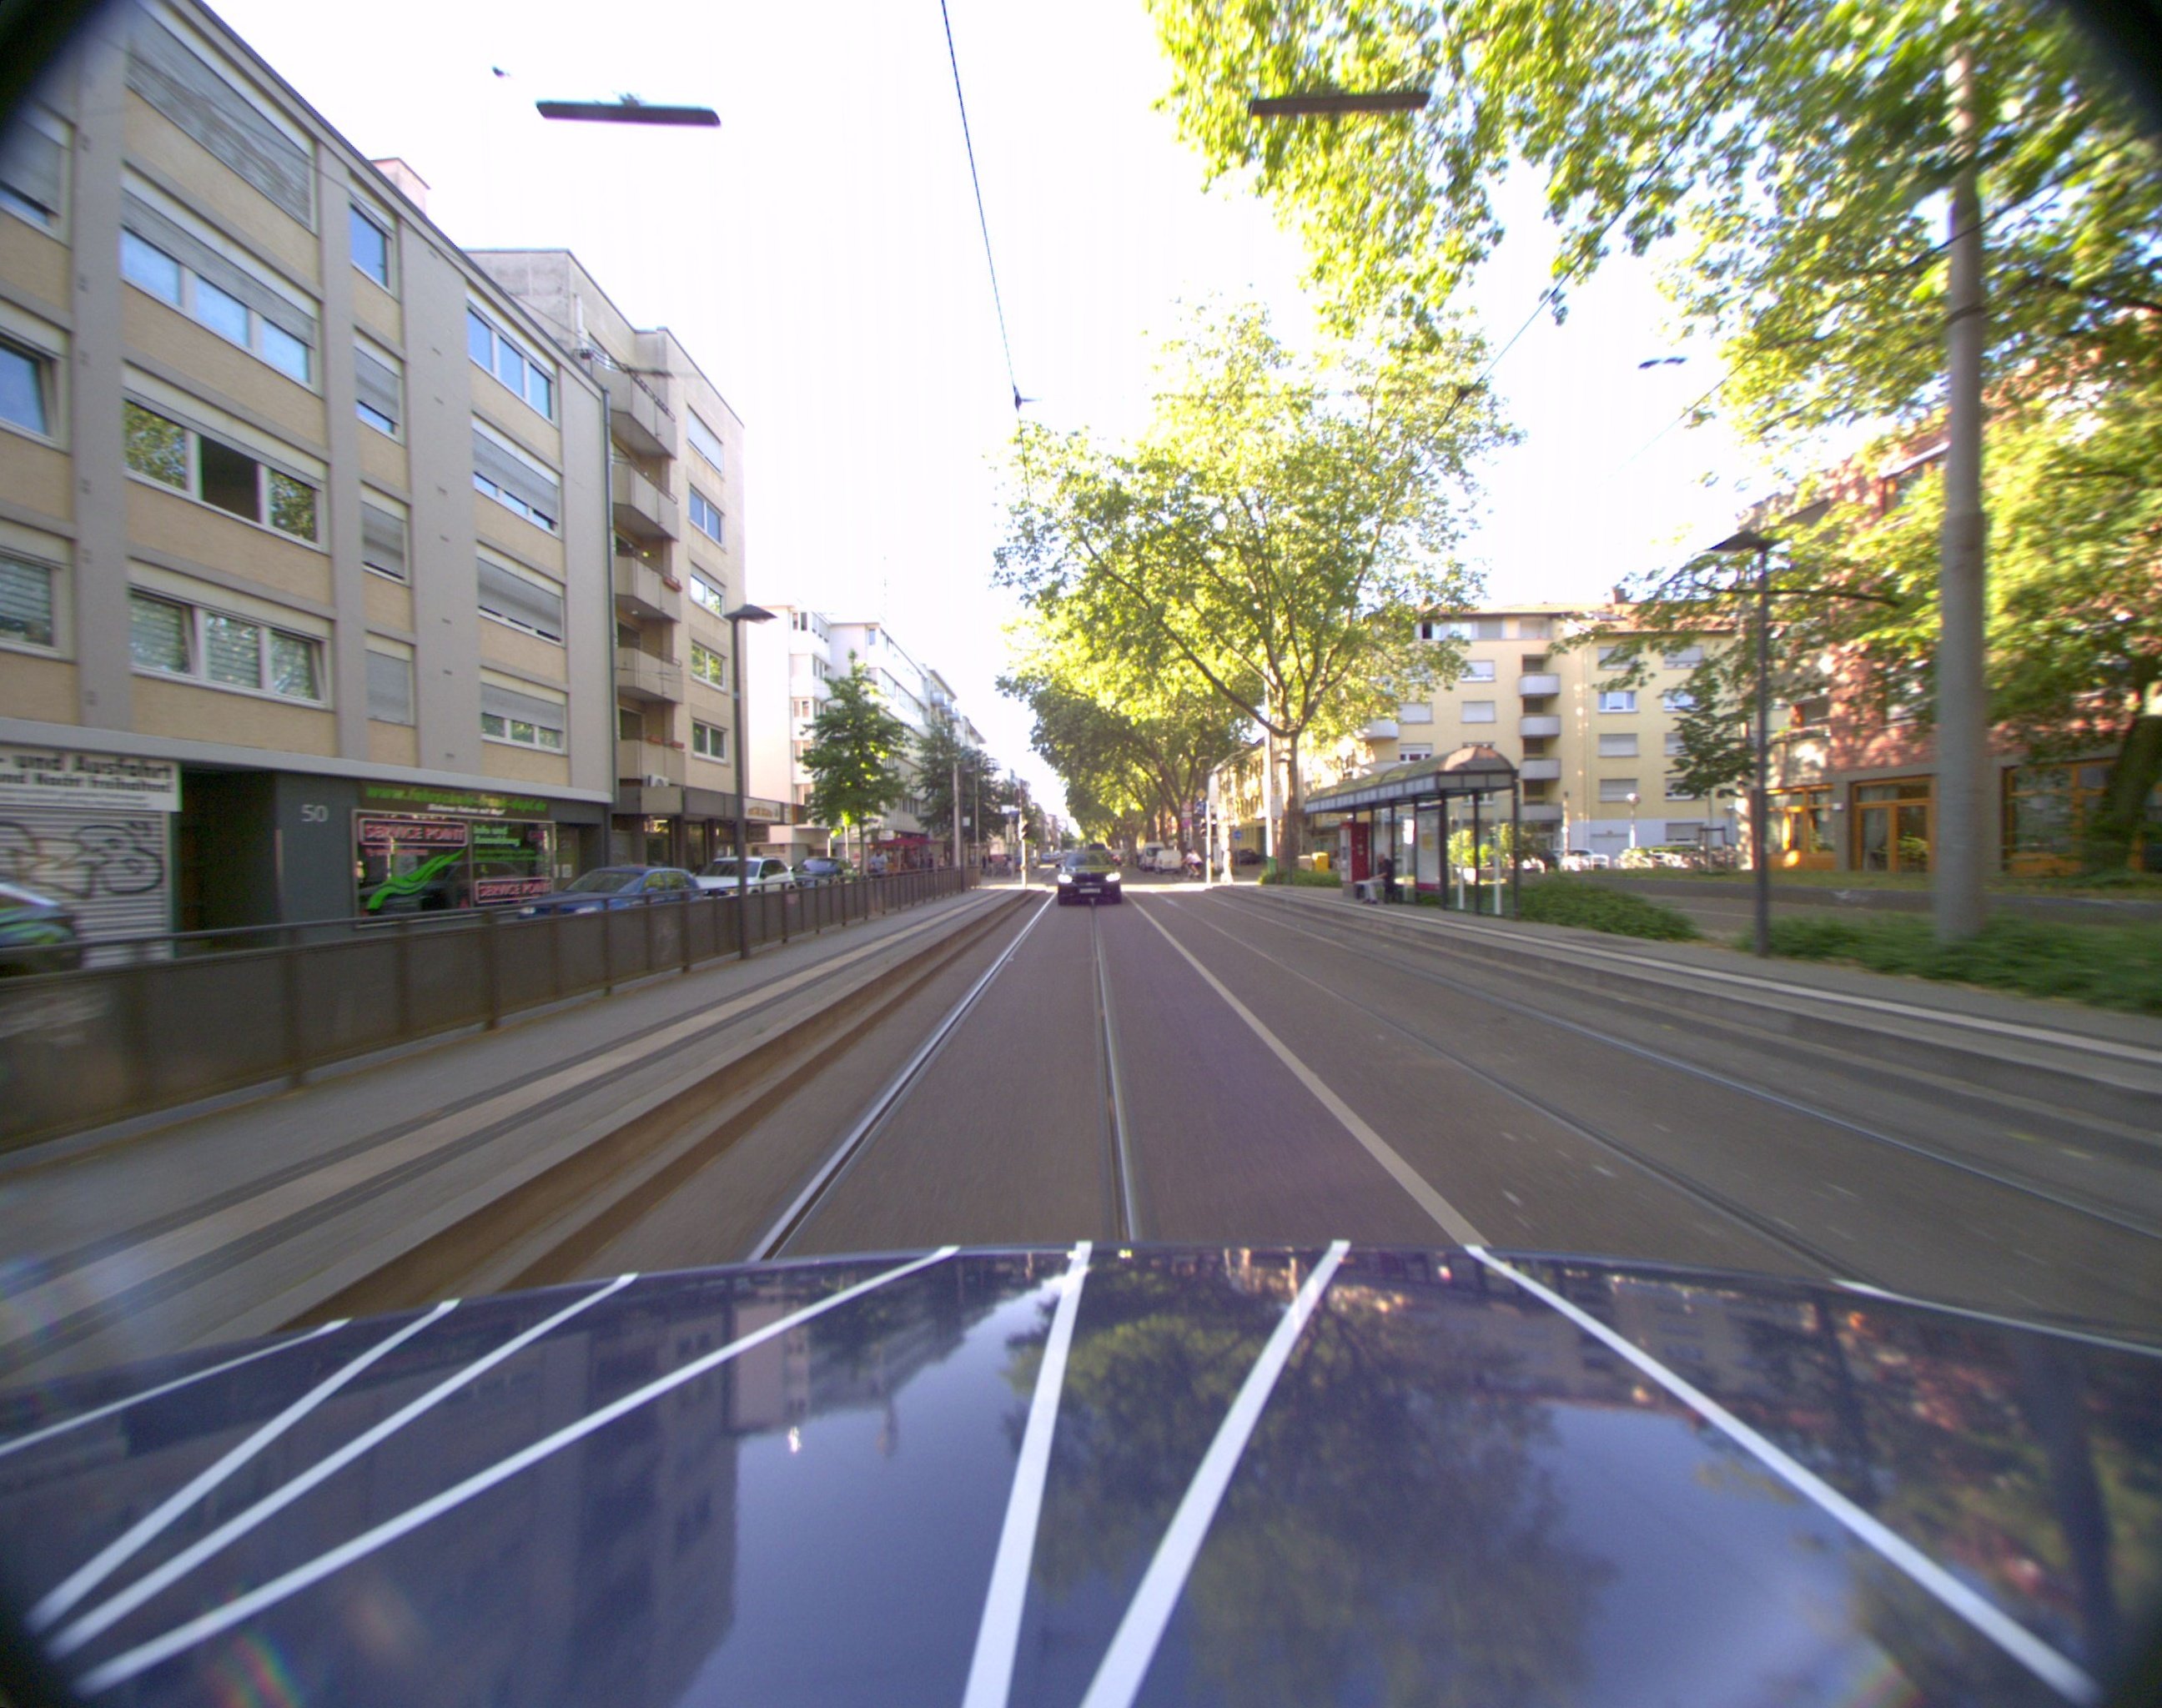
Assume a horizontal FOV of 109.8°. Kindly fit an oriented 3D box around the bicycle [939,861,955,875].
[{"bbox_3d":[-10.045,1.013,56.945,0.678,0.957,2.022,-2,1,3],"label":"bicycle"}]

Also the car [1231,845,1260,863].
[{"bbox_3d":[17.200,-0.051,79.607,1.998,1.723,4.897,-2,1,1],"label":"car"}]

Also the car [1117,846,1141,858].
[{"bbox_3d":[9.589,-0.383,153.414,4.661,2.293,2.000,-2,1,0],"label":"car"}]

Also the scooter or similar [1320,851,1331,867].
[{"bbox_3d":[17.557,0.368,54.611,0.642,1.160,0.676,-1,1,27],"label":"scooter or similar"}]

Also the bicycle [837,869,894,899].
[{"bbox_3d":[-8.950,1.236,31.556,2.130,1.181,0.681,-2,1,9],"label":"bicycle"}]

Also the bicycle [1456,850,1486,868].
[{"bbox_3d":[25.188,0.320,49.046,1.637,1.078,0.543,-1,0,2],"label":"bicycle"}]

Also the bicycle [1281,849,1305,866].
[{"bbox_3d":[14.347,0.210,51.568,0.784,1.104,2.595,-2,1,-2],"label":"bicycle"}]

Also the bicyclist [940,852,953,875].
[{"bbox_3d":[-10.068,0.686,56.781,0.678,1.707,0.965,-2,1,3],"label":"bicyclist"}]

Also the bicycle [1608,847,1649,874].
[{"bbox_3d":[23.300,0.280,32.353,0.543,1.078,1.638,-1,0,-1],"label":"bicycle"}]

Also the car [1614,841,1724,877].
[{"bbox_3d":[29.094,0.236,37.686,3.997,1.652,1.960,-1,1,-1],"label":"car"}]

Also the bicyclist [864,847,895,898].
[{"bbox_3d":[-7.416,0.666,27.967,0.769,1.821,1.099,-2,1,1],"label":"bicyclist"}]

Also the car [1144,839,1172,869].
[{"bbox_3d":[6.967,-0.039,69.365,2.113,2.562,6.024,-2,1,2],"label":"car"}]

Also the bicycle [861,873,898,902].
[{"bbox_3d":[-7.405,1.220,27.976,0.790,0.932,1.939,-2,1,1],"label":"bicycle"}]

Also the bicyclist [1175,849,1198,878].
[{"bbox_3d":[5.757,0.532,41.410,0.991,1.539,0.683,-1,1,30],"label":"bicyclist"}]

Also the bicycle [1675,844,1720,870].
[{"bbox_3d":[26.077,0.111,32.156,0.543,1.078,1.638,-2,1,-1],"label":"bicycle"}]

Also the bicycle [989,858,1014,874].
[{"bbox_3d":[-6.056,0.922,57.798,1.821,1.094,0.481,-2,1,-8],"label":"bicycle"}]

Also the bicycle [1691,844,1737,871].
[{"bbox_3d":[26.806,0.142,32.202,0.543,1.078,1.638,-2,1,-1],"label":"bicycle"}]

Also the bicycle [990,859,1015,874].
[{"bbox_3d":[-5.952,0.949,57.240,1.821,1.094,0.497,-2,1,-8],"label":"bicycle"}]

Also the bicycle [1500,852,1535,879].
[{"bbox_3d":[18.652,0.509,32.519,0.543,1.077,1.537,-2,-2,-1],"label":"bicycle"}]

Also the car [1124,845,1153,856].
[{"bbox_3d":[10.969,-0.678,144.880,5.135,1.984,1.999,-2,1,-4],"label":"car"}]

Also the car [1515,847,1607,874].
[{"bbox_3d":[27.419,0.339,43.496,3.997,1.368,2.000,-2,1,-1],"label":"car"}]

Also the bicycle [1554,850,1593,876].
[{"bbox_3d":[20.974,0.381,32.359,0.543,1.077,1.639,-2,-1,-1],"label":"bicycle"}]

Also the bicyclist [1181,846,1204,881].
[{"bbox_3d":[5.812,0.486,39.503,0.949,1.753,0.786,-1,1,22],"label":"bicyclist"}]

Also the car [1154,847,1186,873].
[{"bbox_3d":[6.830,0.423,58.528,1.768,1.840,4.317,-2,1,-1],"label":"car"}]

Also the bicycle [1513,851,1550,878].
[{"bbox_3d":[19.280,0.466,32.520,0.543,1.077,1.639,-2,-2,-1],"label":"bicycle"}]

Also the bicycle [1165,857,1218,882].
[{"bbox_3d":[5.739,0.806,39.549,2.590,1.184,0.786,-2,1,22],"label":"bicycle"}]

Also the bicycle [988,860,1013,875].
[{"bbox_3d":[-5.960,0.991,56.324,1.820,0.988,0.481,-2,1,-2],"label":"bicycle"}]

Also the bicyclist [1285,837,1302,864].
[{"bbox_3d":[14.338,-0.242,51.349,0.776,1.740,0.997,-2,1,-1],"label":"bicyclist"}]

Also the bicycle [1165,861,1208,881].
[{"bbox_3d":[5.751,0.919,41.430,2.208,1.064,0.683,-1,1,30],"label":"bicycle"}]

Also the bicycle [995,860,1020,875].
[{"bbox_3d":[-5.692,1.065,58.811,1.820,1.094,0.525,-1,1,0],"label":"bicycle"}]

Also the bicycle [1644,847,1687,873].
[{"bbox_3d":[24.736,0.233,32.196,0.543,1.078,1.638,-2,1,-1],"label":"bicycle"}]
